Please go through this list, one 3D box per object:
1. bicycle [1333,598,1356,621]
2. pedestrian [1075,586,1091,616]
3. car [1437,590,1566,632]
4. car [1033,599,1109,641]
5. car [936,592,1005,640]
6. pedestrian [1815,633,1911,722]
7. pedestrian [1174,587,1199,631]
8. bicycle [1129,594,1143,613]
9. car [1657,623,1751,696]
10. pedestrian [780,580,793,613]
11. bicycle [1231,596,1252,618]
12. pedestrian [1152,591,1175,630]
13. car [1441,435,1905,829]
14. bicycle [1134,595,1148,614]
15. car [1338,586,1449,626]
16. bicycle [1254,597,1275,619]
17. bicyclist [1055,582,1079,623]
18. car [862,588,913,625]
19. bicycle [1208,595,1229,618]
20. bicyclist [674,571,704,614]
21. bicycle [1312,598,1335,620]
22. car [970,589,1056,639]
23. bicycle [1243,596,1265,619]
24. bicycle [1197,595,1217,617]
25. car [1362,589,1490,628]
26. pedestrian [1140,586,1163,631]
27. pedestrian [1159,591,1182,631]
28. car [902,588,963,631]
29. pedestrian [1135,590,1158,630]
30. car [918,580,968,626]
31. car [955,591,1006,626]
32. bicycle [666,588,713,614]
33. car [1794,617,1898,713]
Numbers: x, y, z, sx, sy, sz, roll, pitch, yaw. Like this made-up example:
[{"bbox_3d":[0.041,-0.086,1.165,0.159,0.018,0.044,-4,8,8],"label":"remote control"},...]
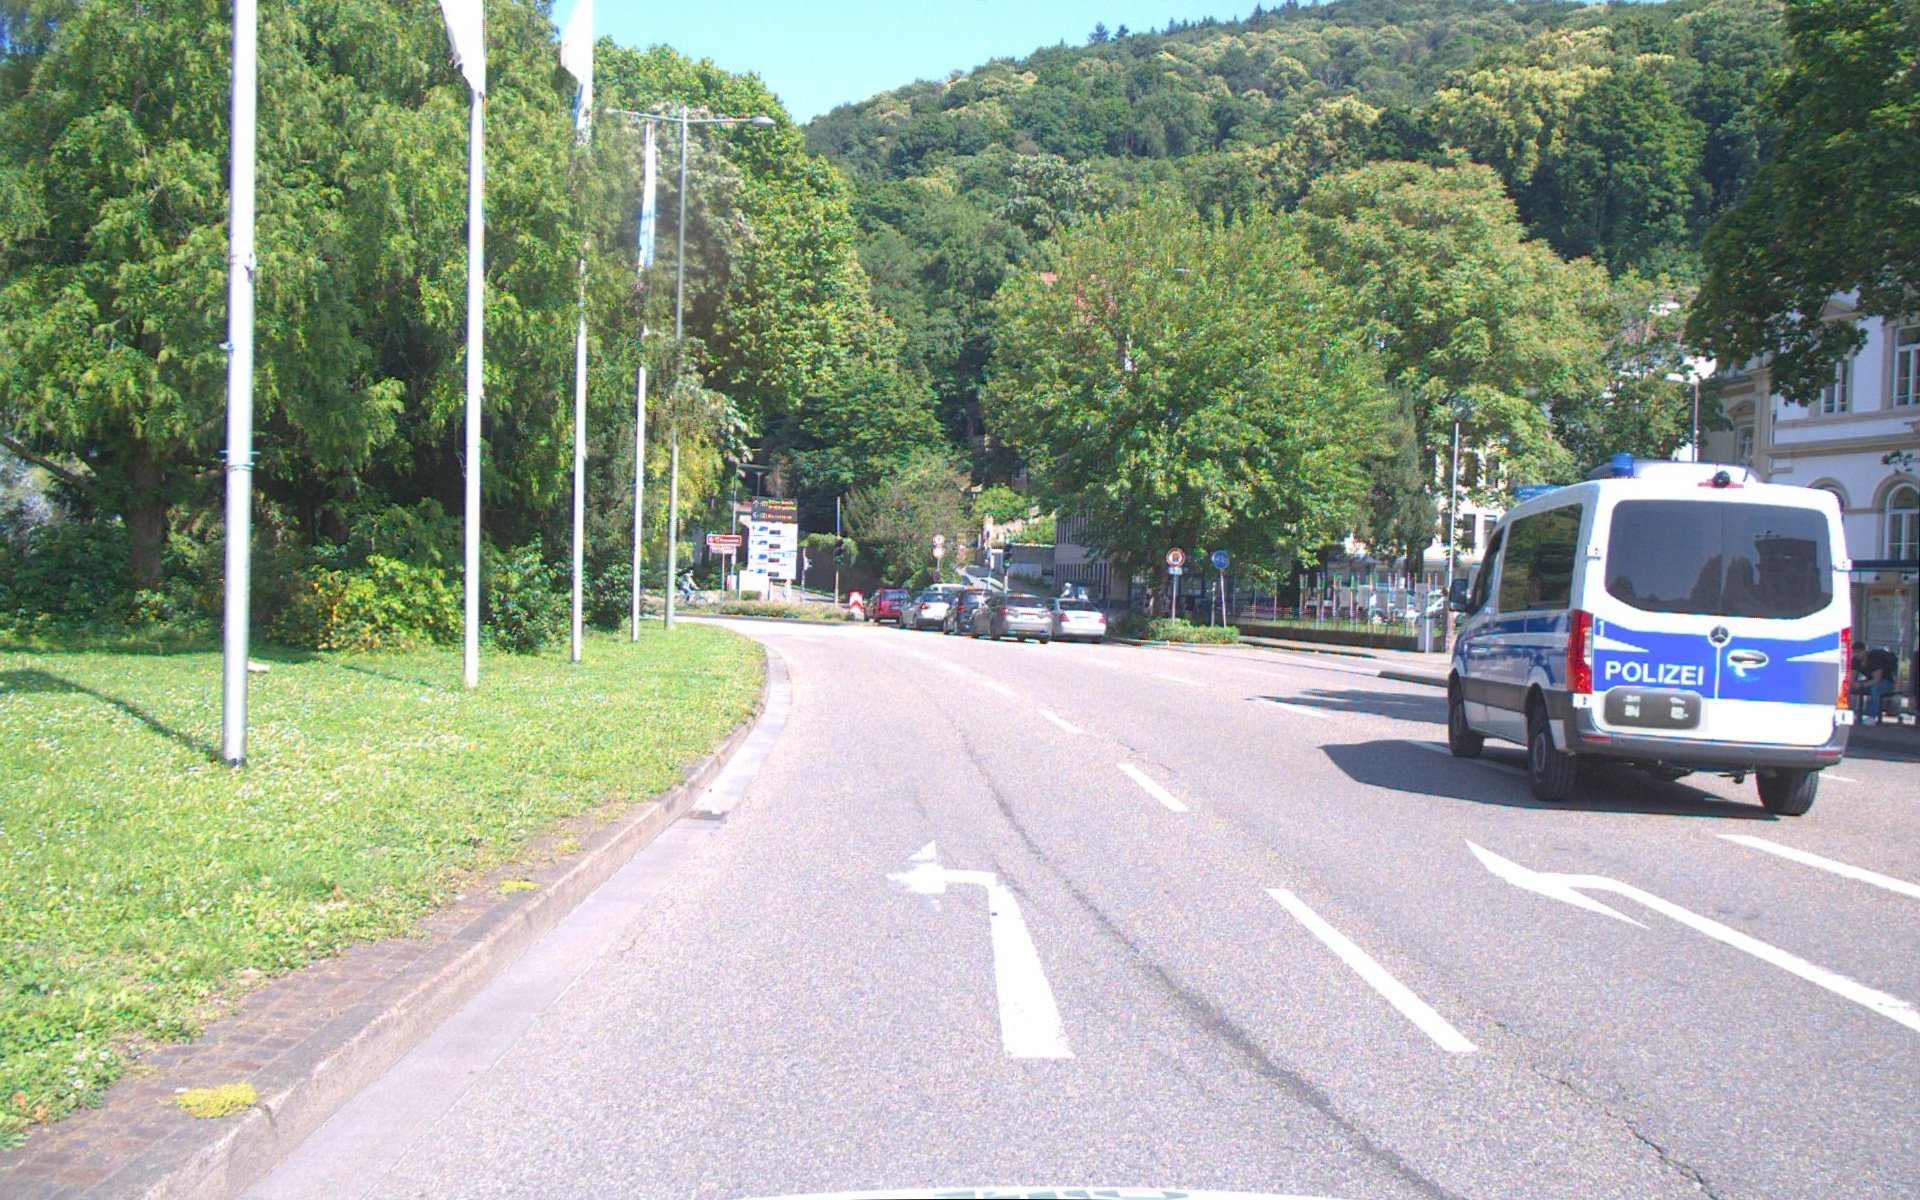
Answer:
[{"bbox_3d":[20.006,0.491,86.081,0.527,1.104,1.832,1,1,-8],"label":"bicycle"},{"bbox_3d":[6.072,0.037,81.540,0.482,1.483,0.729,1,0,-21],"label":"pedestrian"},{"bbox_3d":[19.326,0.373,59.060,3.969,1.359,1.855,2,0,-12],"label":"car"},{"bbox_3d":[3.644,0.633,54.888,1.724,1.234,3.486,2,0,-10],"label":"car"},{"bbox_3d":[0.317,0.529,56.219,1.724,1.486,3.486,2,0,-10],"label":"car"},{"bbox_3d":[13.087,1.120,23.981,1.007,1.218,0.784,2,0,-30],"label":"pedestrian"},{"bbox_3d":[9.768,0.381,71.314,0.757,1.886,0.827,2,0,-11],"label":"pedestrian"},{"bbox_3d":[9.576,0.192,90.173,0.397,1.030,1.338,1,1,-9],"label":"bicycle"},{"bbox_3d":[16.734,1.287,37.126,1.675,1.467,3.807,3,0,27],"label":"car"},{"bbox_3d":[-8.718,-0.172,83.065,0.535,1.649,0.634,1,1,0],"label":"pedestrian"},{"bbox_3d":[14.542,0.362,85.437,0.527,1.104,1.832,1,1,-8],"label":"bicycle"},{"bbox_3d":[8.956,0.469,72.809,0.756,1.691,0.828,2,0,-8],"label":"pedestrian"},{"bbox_3d":[5.482,0.213,13.538,2.029,2.552,4.932,2,0,6],"label":"car"},{"bbox_3d":[9.652,0.246,88.154,0.397,0.957,1.338,1,1,-9],"label":"bicycle"},{"bbox_3d":[17.917,0.249,68.420,4.073,1.501,1.871,1,0,-15],"label":"car"},{"bbox_3d":[15.777,0.391,85.650,0.527,1.104,1.832,1,1,-8],"label":"bicycle"},{"bbox_3d":[5.169,0.124,79.893,1.102,1.966,0.748,2,0,3],"label":"bicyclist"},{"bbox_3d":[-3.157,0.263,71.192,1.724,1.486,3.486,2,0,-10],"label":"car"},{"bbox_3d":[13.348,0.334,85.367,0.527,1.104,1.832,1,1,-8],"label":"bicycle"},{"bbox_3d":[-12.737,-0.368,77.791,1.102,1.966,0.749,2,0,15],"label":"bicyclist"},{"bbox_3d":[18.858,0.464,85.799,0.527,1.104,1.832,1,1,-8],"label":"bicycle"},{"bbox_3d":[1.560,0.395,50.071,1.725,1.357,3.791,2,1,-11],"label":"car"},{"bbox_3d":[15.199,0.377,85.544,0.527,1.104,1.832,1,1,-8],"label":"bicycle"},{"bbox_3d":[12.722,0.319,85.284,0.527,1.104,1.832,1,1,-8],"label":"bicycle"},{"bbox_3d":[17.904,0.332,63.570,4.388,1.359,1.816,2,0,-12],"label":"car"},{"bbox_3d":[8.234,0.361,71.245,0.756,1.886,0.828,2,0,-7],"label":"pedestrian"},{"bbox_3d":[9.110,0.474,71.688,0.756,1.691,0.828,2,0,-8],"label":"pedestrian"},{"bbox_3d":[-1.057,0.330,62.011,1.724,1.486,3.637,2,0,-10],"label":"car"},{"bbox_3d":[8.167,0.444,72.424,0.757,1.691,0.828,2,0,-9],"label":"pedestrian"},{"bbox_3d":[-0.801,0.102,75.362,1.724,1.971,3.486,2,0,-10],"label":"car"},{"bbox_3d":[0.919,0.399,76.627,1.724,1.486,3.486,2,0,-10],"label":"car"},{"bbox_3d":[-12.718,0.043,77.780,2.032,1.132,0.757,2,0,15],"label":"bicycle"},{"bbox_3d":[17.766,1.251,33.276,1.675,1.725,4.269,3,0,27],"label":"car"}]
